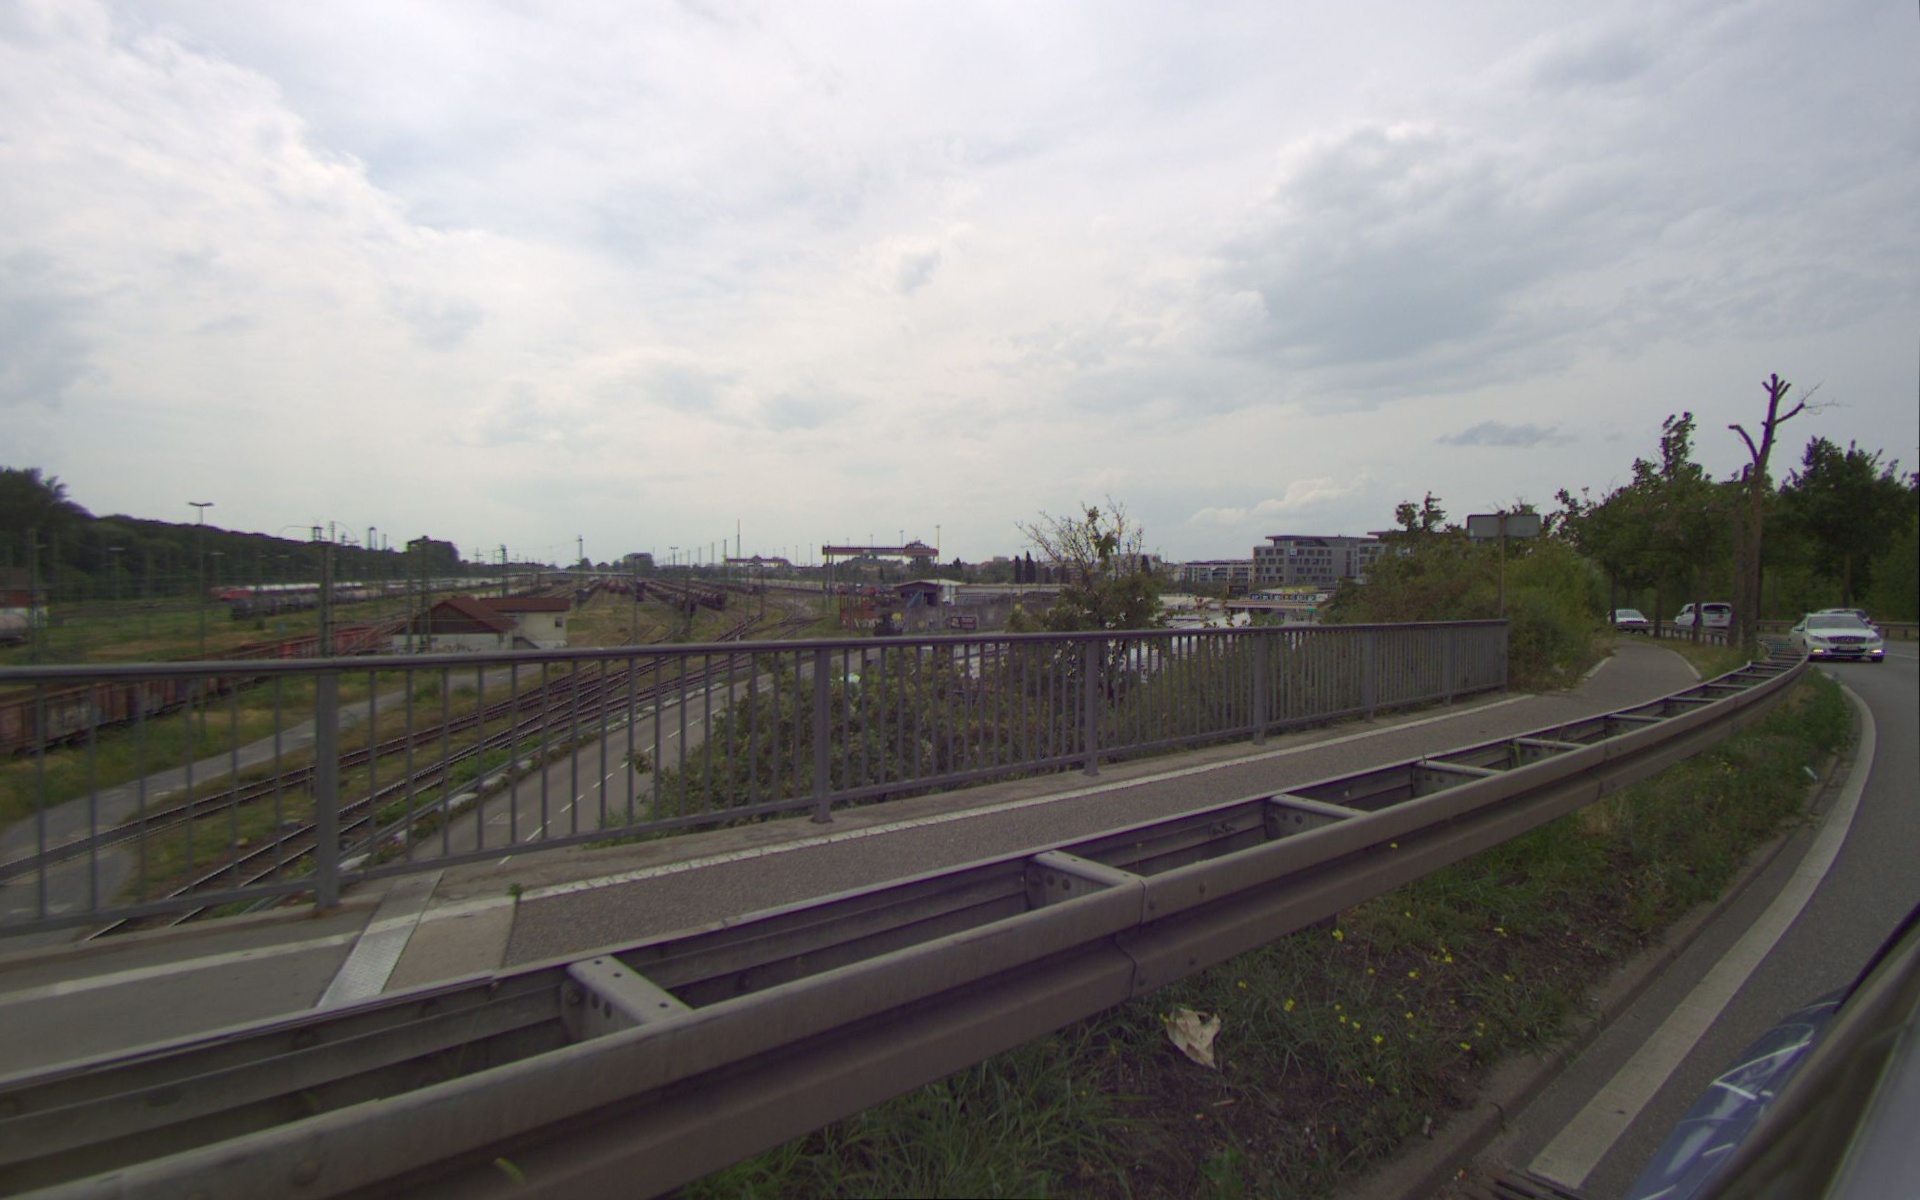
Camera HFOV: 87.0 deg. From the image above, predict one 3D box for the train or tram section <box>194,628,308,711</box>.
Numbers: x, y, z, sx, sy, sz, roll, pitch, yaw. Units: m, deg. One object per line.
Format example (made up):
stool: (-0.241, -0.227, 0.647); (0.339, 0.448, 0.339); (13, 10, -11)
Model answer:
train or tram section: (-58.678, 5.486, 84.411); (3.724, 5.695, 15.596); (-1, 0, -20)

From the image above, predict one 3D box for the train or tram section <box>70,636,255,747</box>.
train or tram section: (-53.042, 5.679, 68.351); (3.877, 5.713, 18.314); (-1, 0, -19)

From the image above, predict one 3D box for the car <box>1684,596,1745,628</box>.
car: (46.737, 0.758, 62.786); (1.940, 1.909, 4.400); (0, -1, 21)

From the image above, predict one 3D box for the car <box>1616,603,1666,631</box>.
car: (44.181, 1.095, 65.757); (1.943, 1.726, 4.394); (0, -1, 25)

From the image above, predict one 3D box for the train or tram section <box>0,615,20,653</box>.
train or tram section: (-110.106, 3.944, 113.146); (3.184, 4.221, 11.409); (-1, 0, -20)

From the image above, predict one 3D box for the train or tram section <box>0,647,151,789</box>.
train or tram section: (-47.666, 5.729, 52.572); (3.894, 5.748, 15.046); (-1, 0, -19)

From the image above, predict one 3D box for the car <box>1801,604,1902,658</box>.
car: (26.778, 0.881, 30.525); (1.927, 1.475, 3.834); (-1, 0, 37)

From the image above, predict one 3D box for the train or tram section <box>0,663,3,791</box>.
train or tram section: (-43.255, 5.807, 38.747); (3.763, 5.749, 13.938); (-1, 0, -17)

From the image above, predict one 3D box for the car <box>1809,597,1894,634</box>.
car: (39.128, 0.694, 44.535); (1.795, 1.541, 4.388); (0, -1, 28)

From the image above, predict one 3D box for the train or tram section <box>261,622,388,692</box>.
train or tram section: (-64.602, 5.401, 104.139); (3.909, 5.549, 25.746); (-1, 0, -16)
